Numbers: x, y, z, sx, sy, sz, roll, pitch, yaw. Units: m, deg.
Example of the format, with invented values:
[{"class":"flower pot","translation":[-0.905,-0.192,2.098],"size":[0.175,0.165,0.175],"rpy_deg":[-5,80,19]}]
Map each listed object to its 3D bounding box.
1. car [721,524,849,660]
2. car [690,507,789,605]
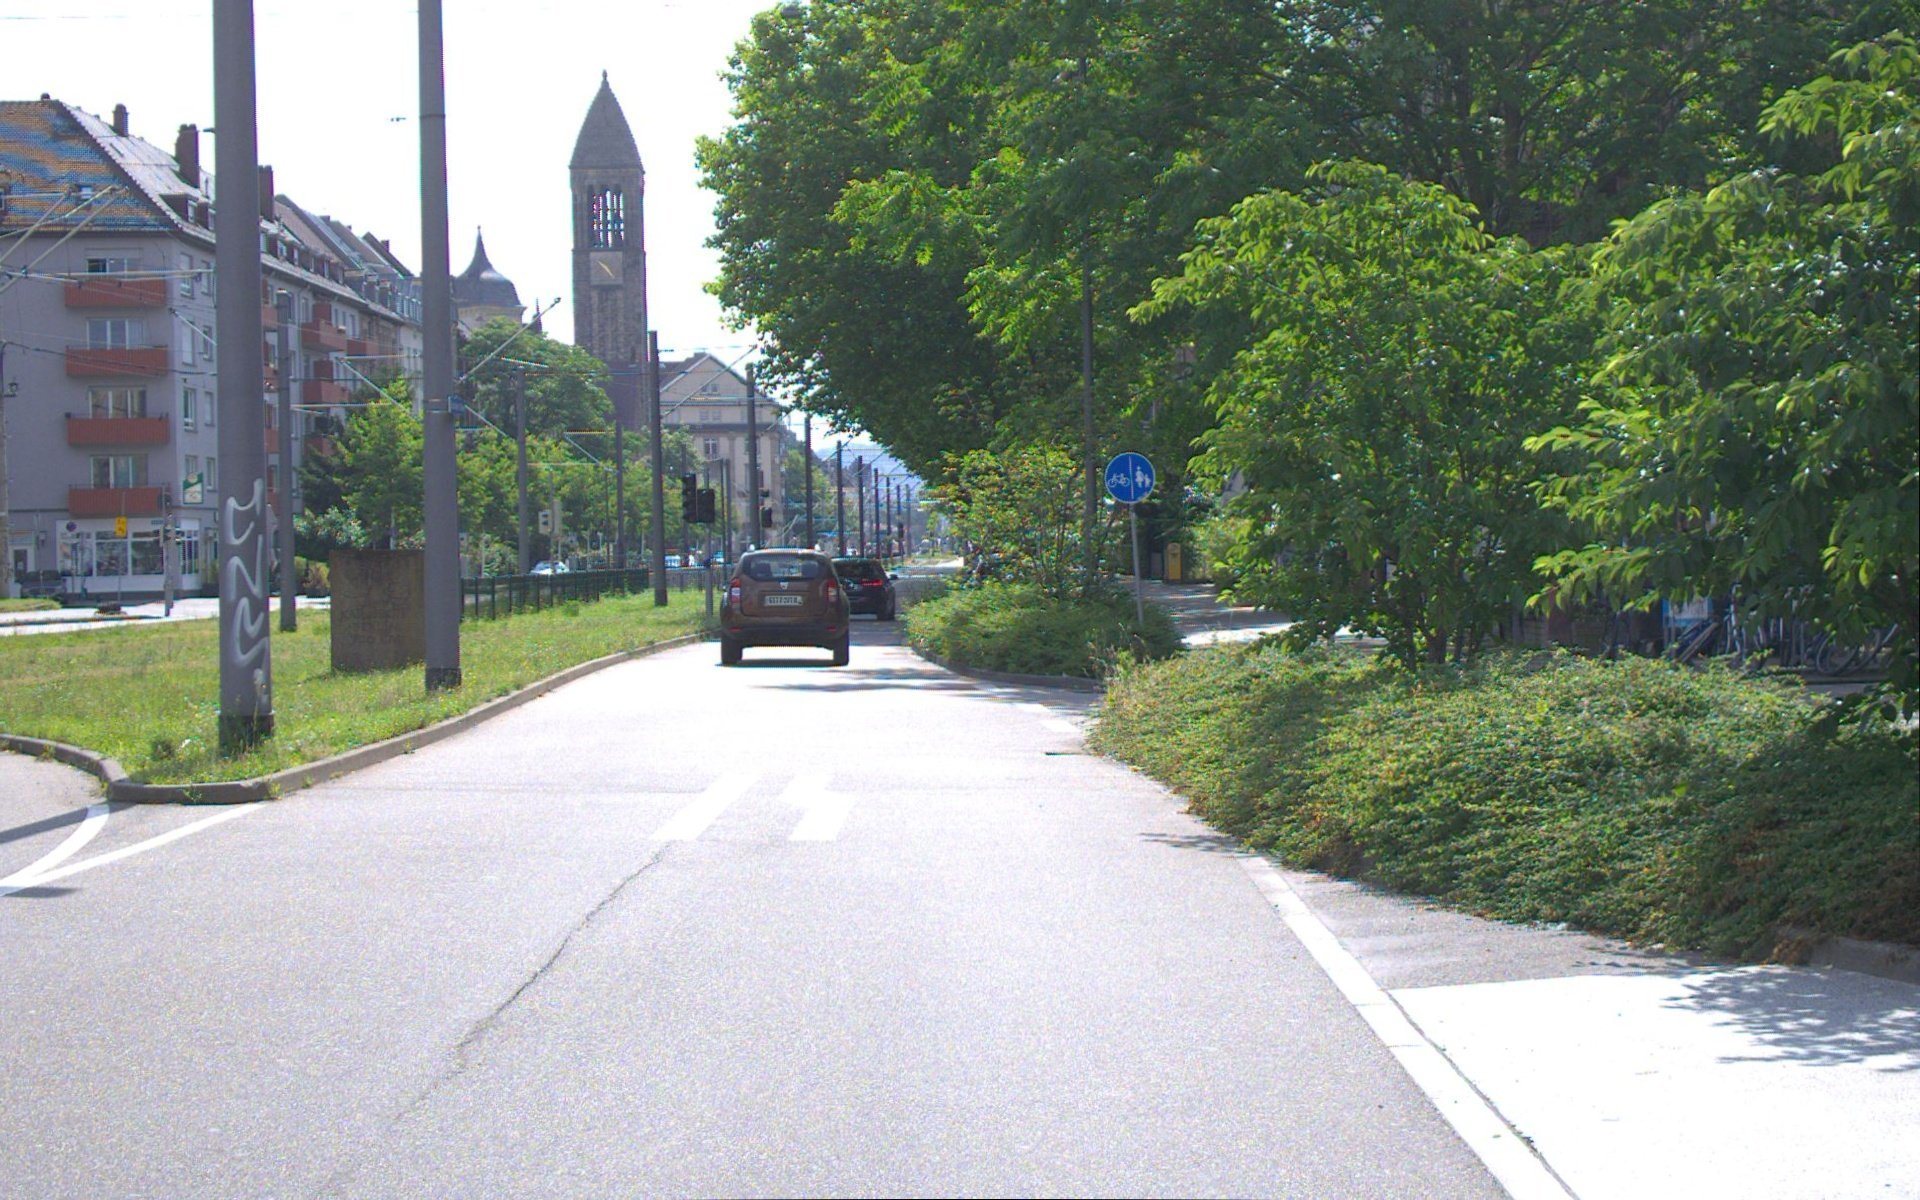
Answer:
[{"class":"car","translation":[-2.451,-0.148,48.845],"size":[1.689,1.705,3.610],"rpy_deg":[-1,3,-1]},{"class":"car","translation":[-4.740,-0.960,74.283],"size":[1.993,2.007,4.001],"rpy_deg":[-2,1,-2]}]
